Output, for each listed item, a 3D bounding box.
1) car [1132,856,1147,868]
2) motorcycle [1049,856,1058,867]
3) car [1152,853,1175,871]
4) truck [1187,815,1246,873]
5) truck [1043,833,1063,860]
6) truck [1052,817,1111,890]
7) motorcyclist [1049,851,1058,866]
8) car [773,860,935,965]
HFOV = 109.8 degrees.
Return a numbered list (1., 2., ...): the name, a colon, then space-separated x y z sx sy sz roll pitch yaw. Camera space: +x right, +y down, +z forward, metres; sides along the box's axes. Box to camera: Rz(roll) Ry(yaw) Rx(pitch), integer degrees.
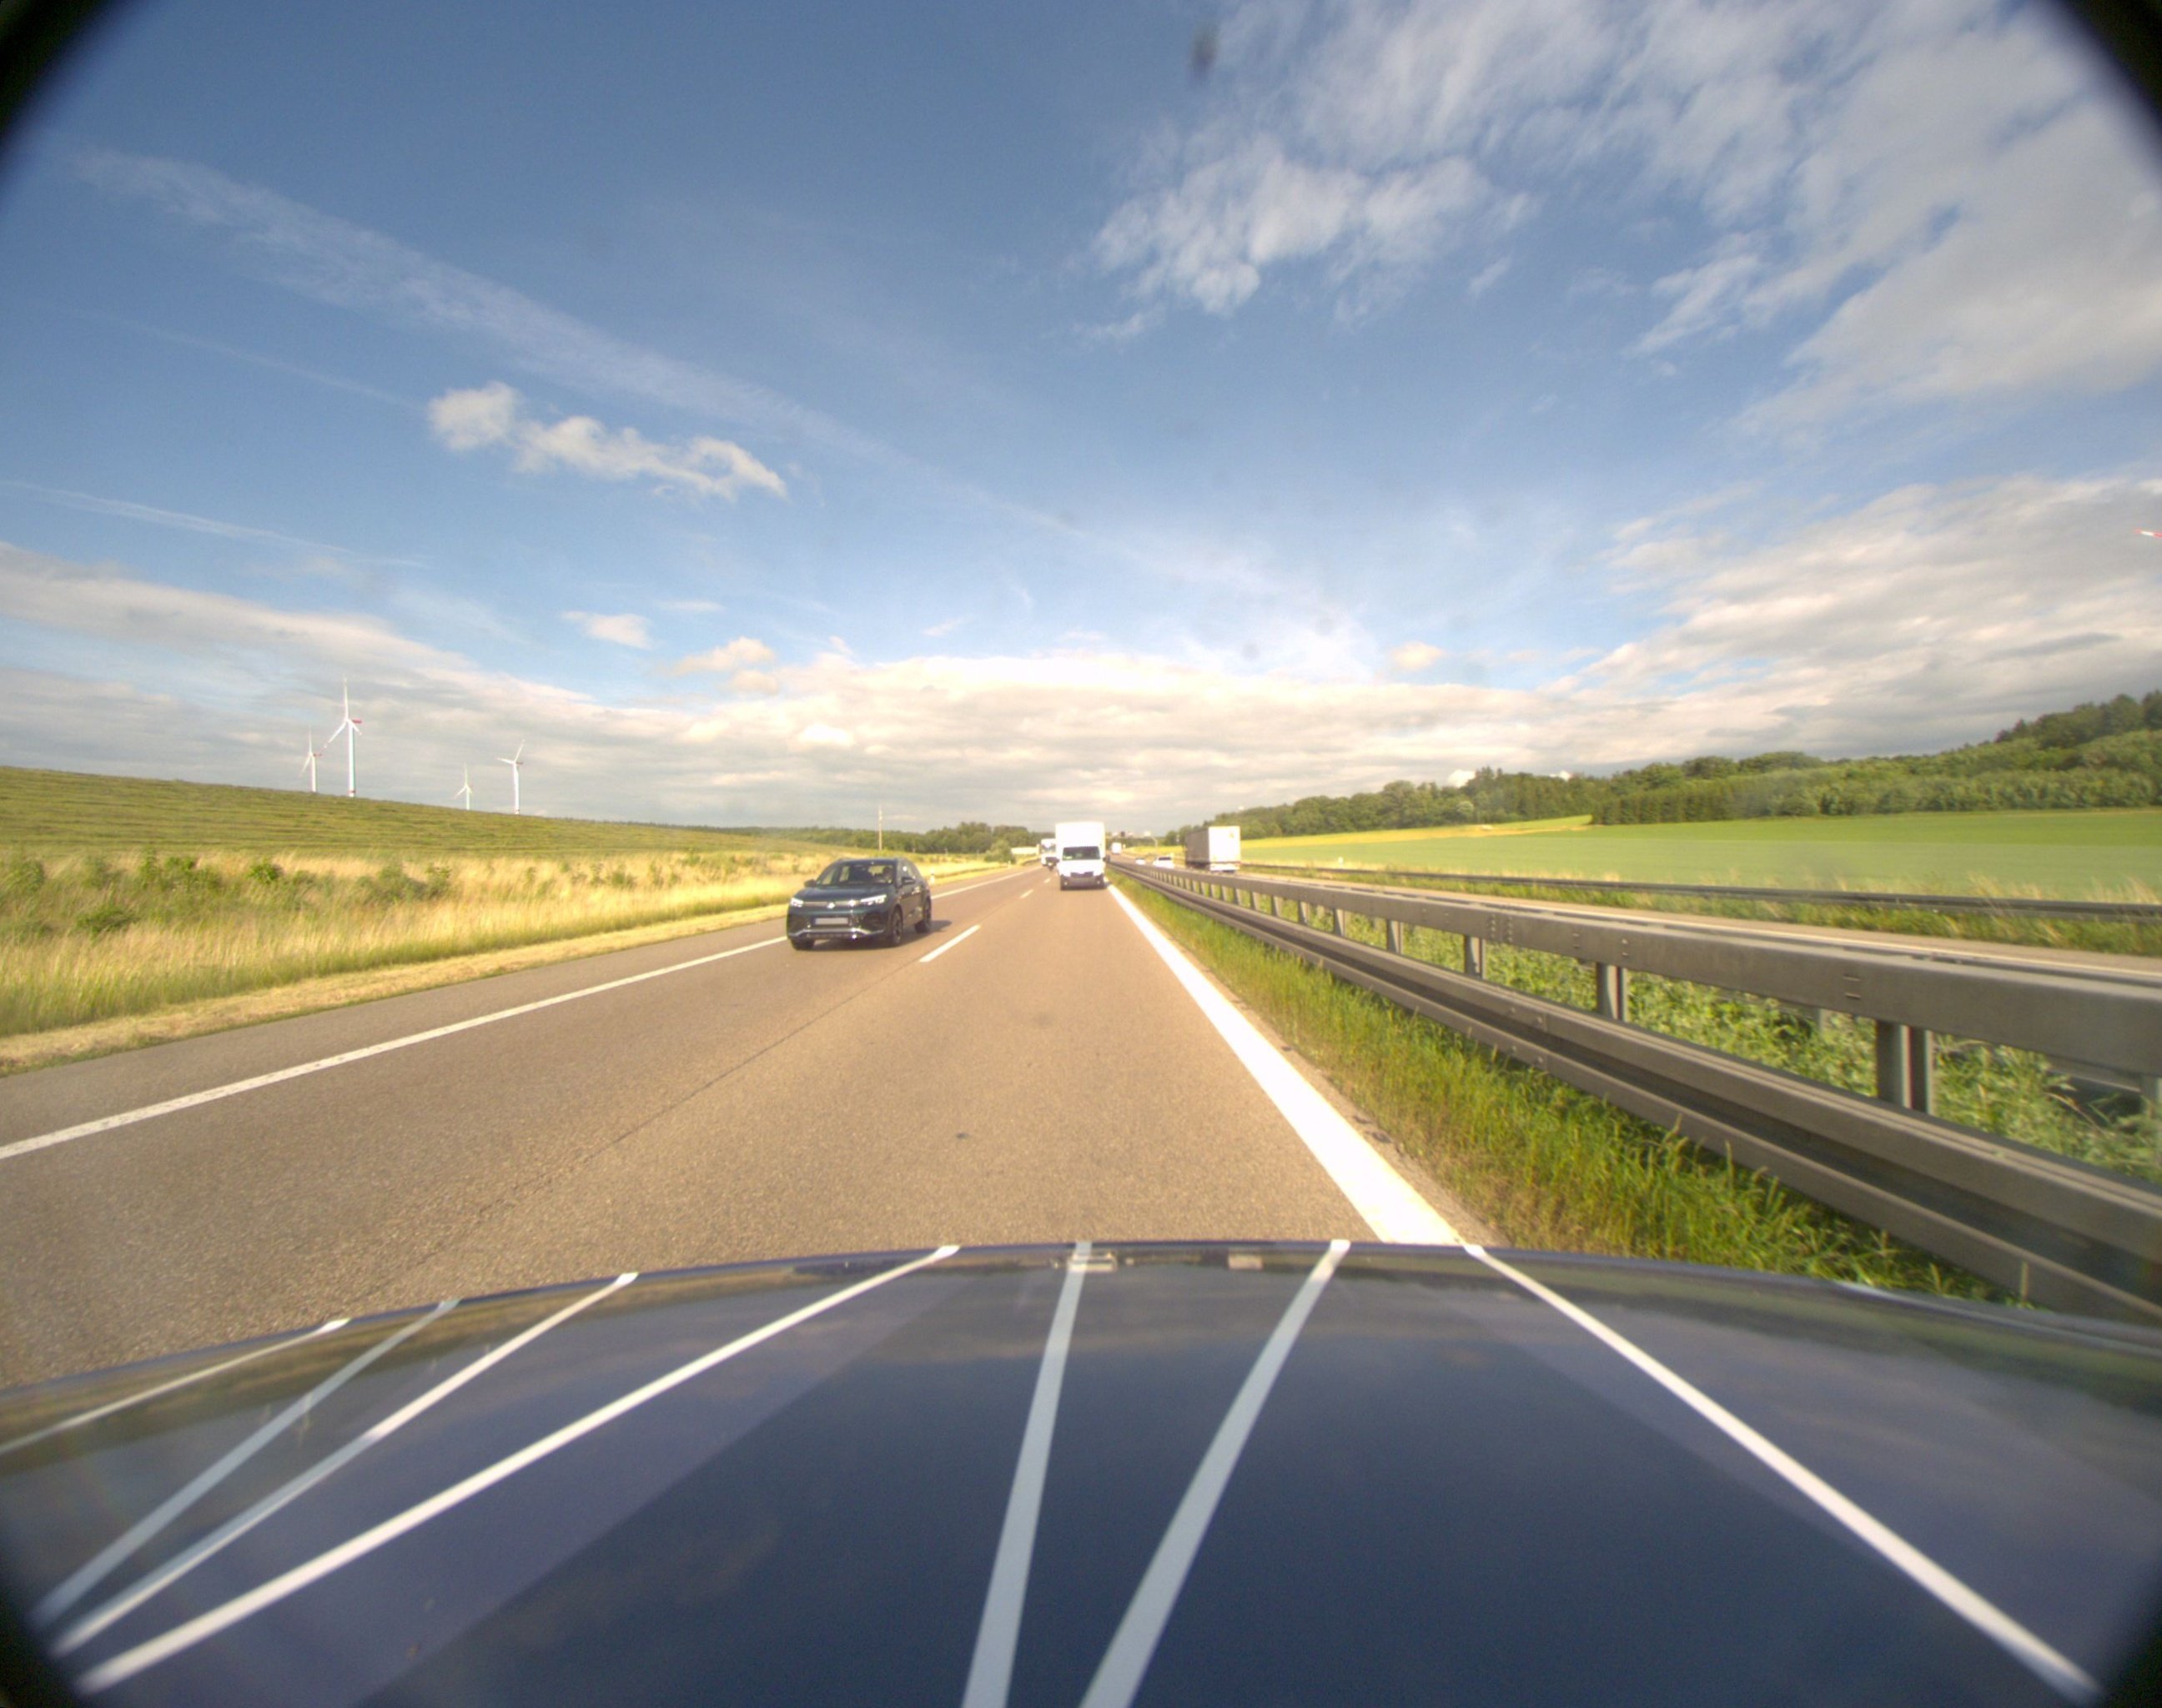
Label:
1. car: 8.111 1.061 105.028 1.708 1.537 3.999 -2 1 1
2. motorcycle: -3.034 0.825 83.980 0.898 1.183 2.256 -2 1 0
3. car: 7.704 0.729 71.546 1.708 1.482 3.999 -2 1 1
4. truck: 12.014 -0.862 68.619 2.887 4.608 13.421 -2 1 0
5. truck: -4.264 -1.150 116.810 2.607 4.017 6.119 -3 1 2
6. truck: -0.006 -0.022 39.243 2.502 3.141 11.162 -2 0 0
7. motorcyclist: -3.047 0.516 84.019 0.852 1.551 0.934 -2 1 0
8. car: -4.171 0.996 14.724 1.826 1.592 4.234 -2 1 0
